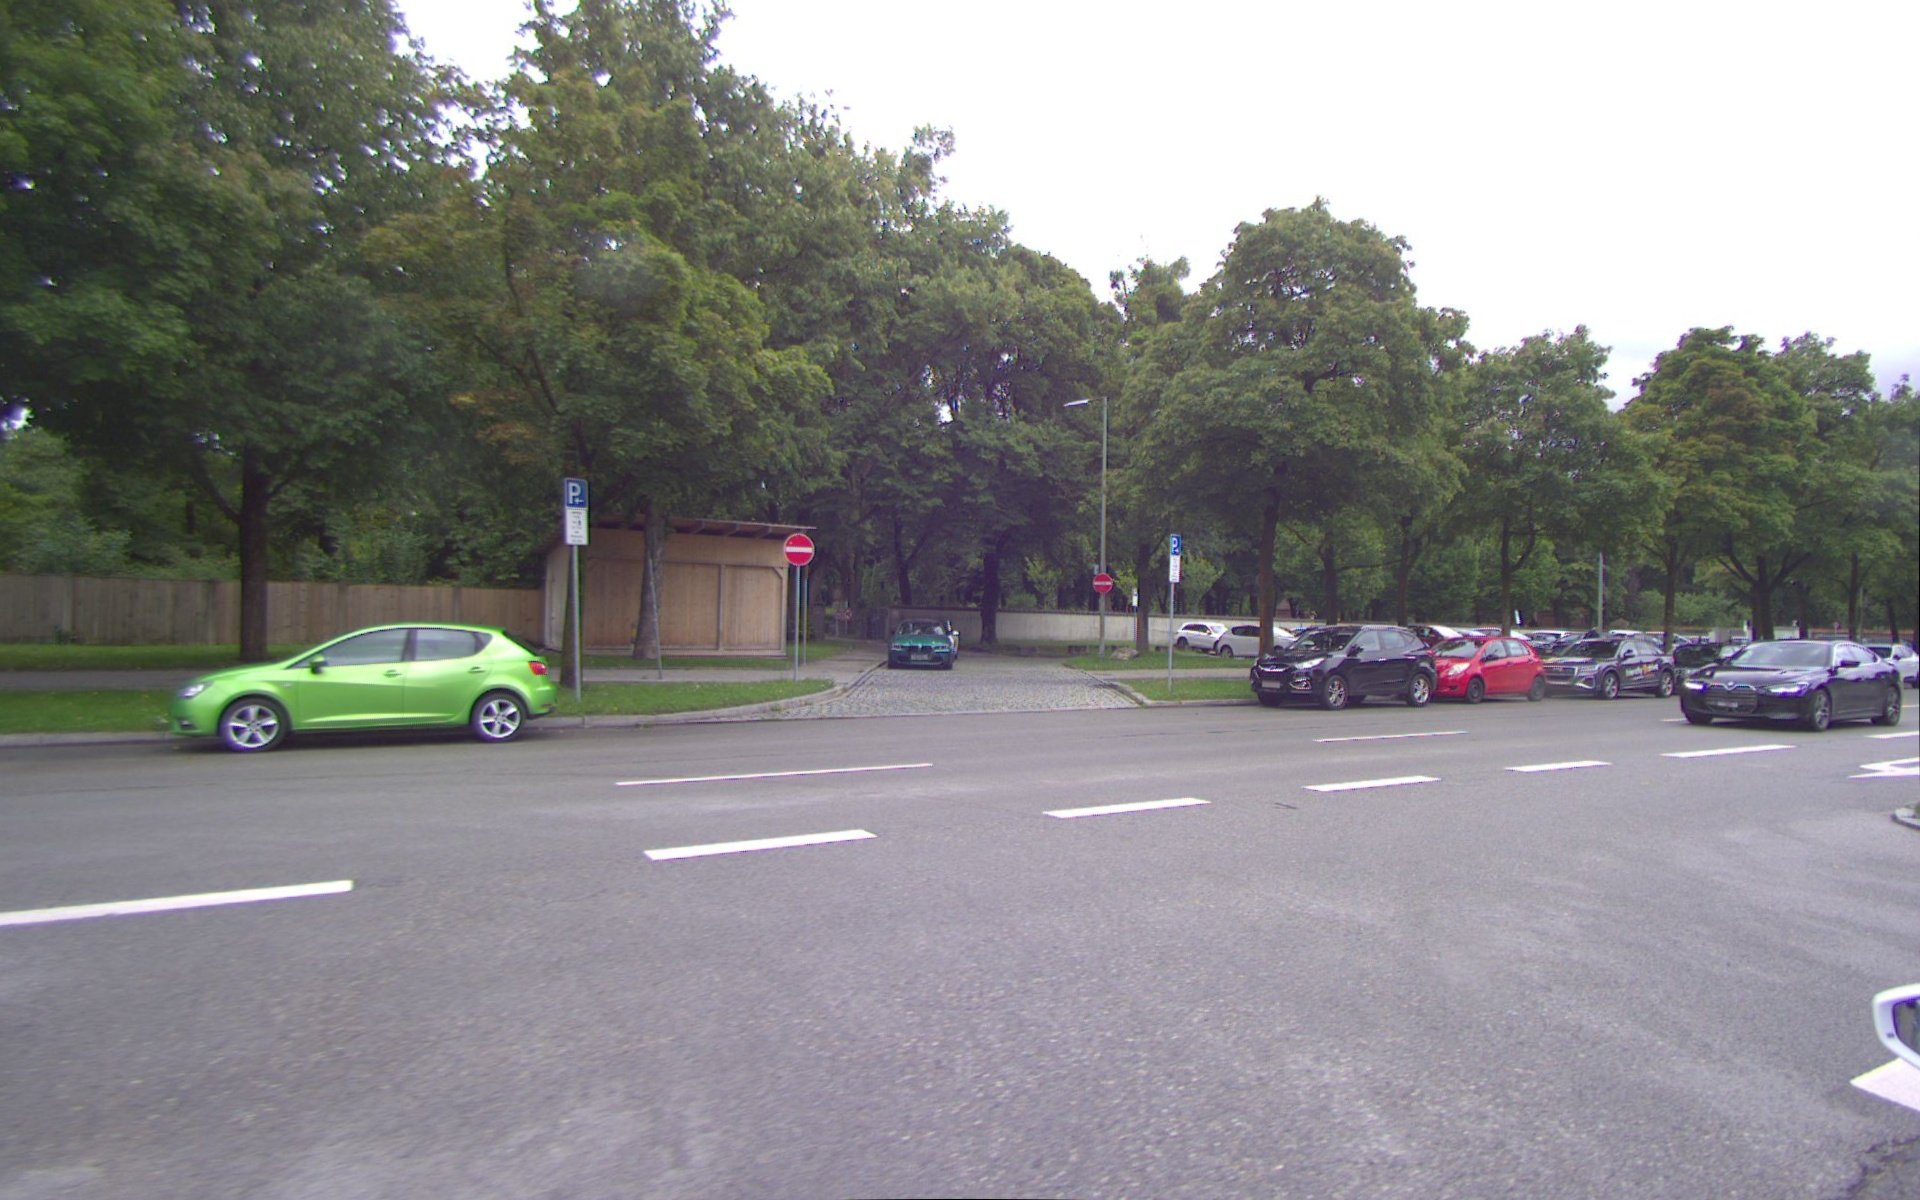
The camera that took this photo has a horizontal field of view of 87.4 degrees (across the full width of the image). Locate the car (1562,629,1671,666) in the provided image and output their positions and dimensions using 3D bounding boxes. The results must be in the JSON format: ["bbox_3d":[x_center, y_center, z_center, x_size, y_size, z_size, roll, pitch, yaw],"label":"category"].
[{"bbox_3d":[31.070,2.238,47.661,1.792,1.591,3.972,2,-1,-27],"label":"car"}]

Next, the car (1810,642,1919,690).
[{"bbox_3d":[30.983,2.258,34.245,4.251,1.547,1.812,3,-3,-31],"label":"car"}]

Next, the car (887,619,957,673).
[{"bbox_3d":[-1.058,1.314,29.834,1.822,1.428,3.860,1,-1,1],"label":"car"}]

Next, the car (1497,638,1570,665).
[{"bbox_3d":[38.286,3.434,67.134,1.746,1.617,3.976,2,-1,-24],"label":"car"}]

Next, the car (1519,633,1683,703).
[{"bbox_3d":[16.346,1.697,25.594,4.062,1.620,1.814,2,-1,-29],"label":"car"}]

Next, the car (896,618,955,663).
[{"bbox_3d":[-1.154,1.391,35.709,1.822,1.428,4.470,1,-1,1],"label":"car"}]

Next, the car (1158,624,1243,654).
[{"bbox_3d":[12.854,2.073,53.978,1.975,1.461,4.486,2,-1,-28],"label":"car"}]

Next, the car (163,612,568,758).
[{"bbox_3d":[-6.964,0.962,12.175,3.951,1.519,1.633,2,-2,-29],"label":"car"}]

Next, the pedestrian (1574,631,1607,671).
[{"bbox_3d":[24.704,1.989,39.366,0.846,1.515,0.791,2,-1,-29],"label":"pedestrian"}]

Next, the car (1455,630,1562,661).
[{"bbox_3d":[24.971,2.034,45.836,1.674,1.275,3.960,2,-1,-36],"label":"car"}]

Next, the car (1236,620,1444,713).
[{"bbox_3d":[7.866,1.361,20.708,4.192,1.722,1.812,3,-1,-31],"label":"car"}]

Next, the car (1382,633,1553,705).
[{"bbox_3d":[11.848,1.610,23.414,3.767,1.499,1.812,3,-1,-31],"label":"car"}]

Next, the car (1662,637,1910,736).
[{"bbox_3d":[14.141,1.404,17.133,4.727,1.467,1.806,2,-2,-31],"label":"car"}]

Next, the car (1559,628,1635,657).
[{"bbox_3d":[48.339,3.209,76.357,1.976,2.061,4.484,2,-1,-30],"label":"car"}]

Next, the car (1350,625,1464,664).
[{"bbox_3d":[18.830,1.839,42.427,1.980,1.461,3.961,2,-1,-34],"label":"car"}]

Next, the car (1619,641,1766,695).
[{"bbox_3d":[20.730,1.902,28.429,3.950,1.428,1.815,2,-3,-28],"label":"car"}]

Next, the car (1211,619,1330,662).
[{"bbox_3d":[11.755,1.525,38.190,1.980,1.461,3.961,2,-1,-34],"label":"car"}]
